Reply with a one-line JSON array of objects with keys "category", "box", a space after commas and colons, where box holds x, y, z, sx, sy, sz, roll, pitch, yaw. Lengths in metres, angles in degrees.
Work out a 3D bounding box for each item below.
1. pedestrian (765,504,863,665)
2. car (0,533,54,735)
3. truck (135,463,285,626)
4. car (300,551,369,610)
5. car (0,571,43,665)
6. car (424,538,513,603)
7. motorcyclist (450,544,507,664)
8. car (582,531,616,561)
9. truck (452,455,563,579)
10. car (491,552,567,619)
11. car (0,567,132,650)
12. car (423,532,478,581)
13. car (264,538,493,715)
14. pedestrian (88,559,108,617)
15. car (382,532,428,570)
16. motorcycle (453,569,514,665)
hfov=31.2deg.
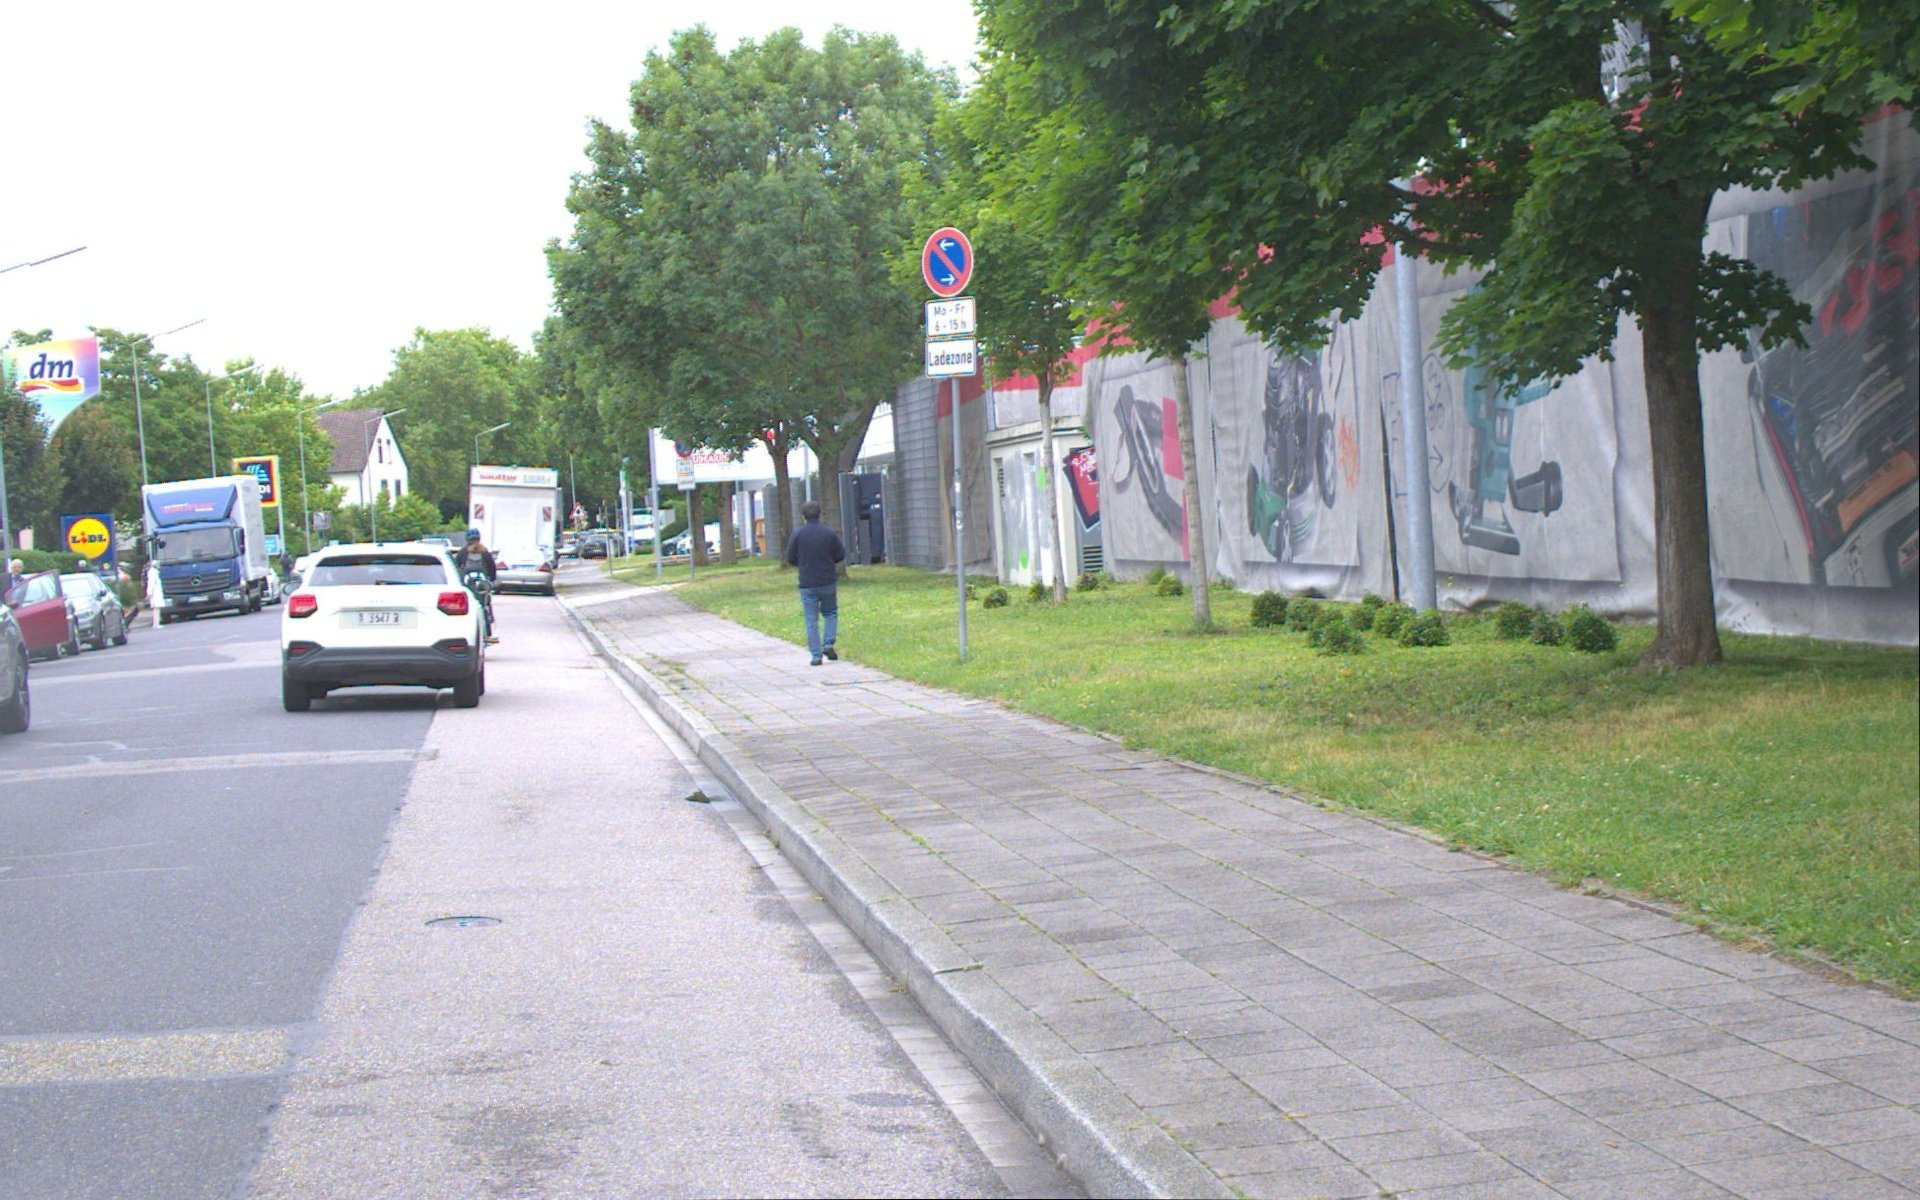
[{"category": "pedestrian", "box": [-1.521, -0.164, 35.664, 0.919, 1.629, 0.853, -2, 1, -5]}, {"category": "car", "box": [-9.033, 0.351, 28.826, 1.933, 1.678, 4.496, -5, 2, -5]}, {"category": "truck", "box": [-19.897, -1.490, 91.523, 2.973, 3.942, 6.406, -5, 2, -7]}, {"category": "car", "box": [-17.787, -0.573, 97.823, 1.598, 1.522, 3.529, -5, 1, -7]}, {"category": "car", "box": [-15.380, 0.303, 52.777, 1.897, 1.362, 4.001, -3, 1, -7]}, {"category": "car", "box": [-11.662, -0.725, 81.696, 1.937, 1.362, 4.001, -4, 2, -8]}, {"category": "motorcyclist", "box": [-6.359, 0.047, 45.467, 0.625, 1.548, 0.604, -4, 1, -5]}, {"category": "car", "box": [-21.144, -3.155, 201.396, 1.886, 1.677, 4.255, -1, 1, -6]}, {"category": "truck", "box": [-14.100, -2.493, 106.534, 3.134, 3.572, 10.053, -2, 1, -8]}, {"category": "car", "box": [-12.283, -0.415, 97.859, 1.993, 1.799, 4.001, -2, 1, -8]}, {"category": "car", "box": [-16.670, 0.128, 64.085, 1.897, 1.362, 4.001, -3, 1, -7]}, {"category": "car", "box": [-18.755, -1.611, 126.502, 1.869, 1.656, 4.001, -4, 2, -9]}, {"category": "car", "box": [-5.465, 0.195, 32.724, 1.886, 1.526, 4.255, -1, 1, -6]}, {"category": "pedestrian", "box": [-23.166, -0.329, 92.393, 0.401, 1.526, 0.485, -4, 1, -13]}, {"category": "car", "box": [-25.493, -2.247, 157.942, 1.993, 1.678, 4.001, -2, 1, -8]}, {"category": "motorcycle", "box": [-6.278, 0.205, 45.372, 0.641, 1.174, 2.114, -4, 1, -5]}]
